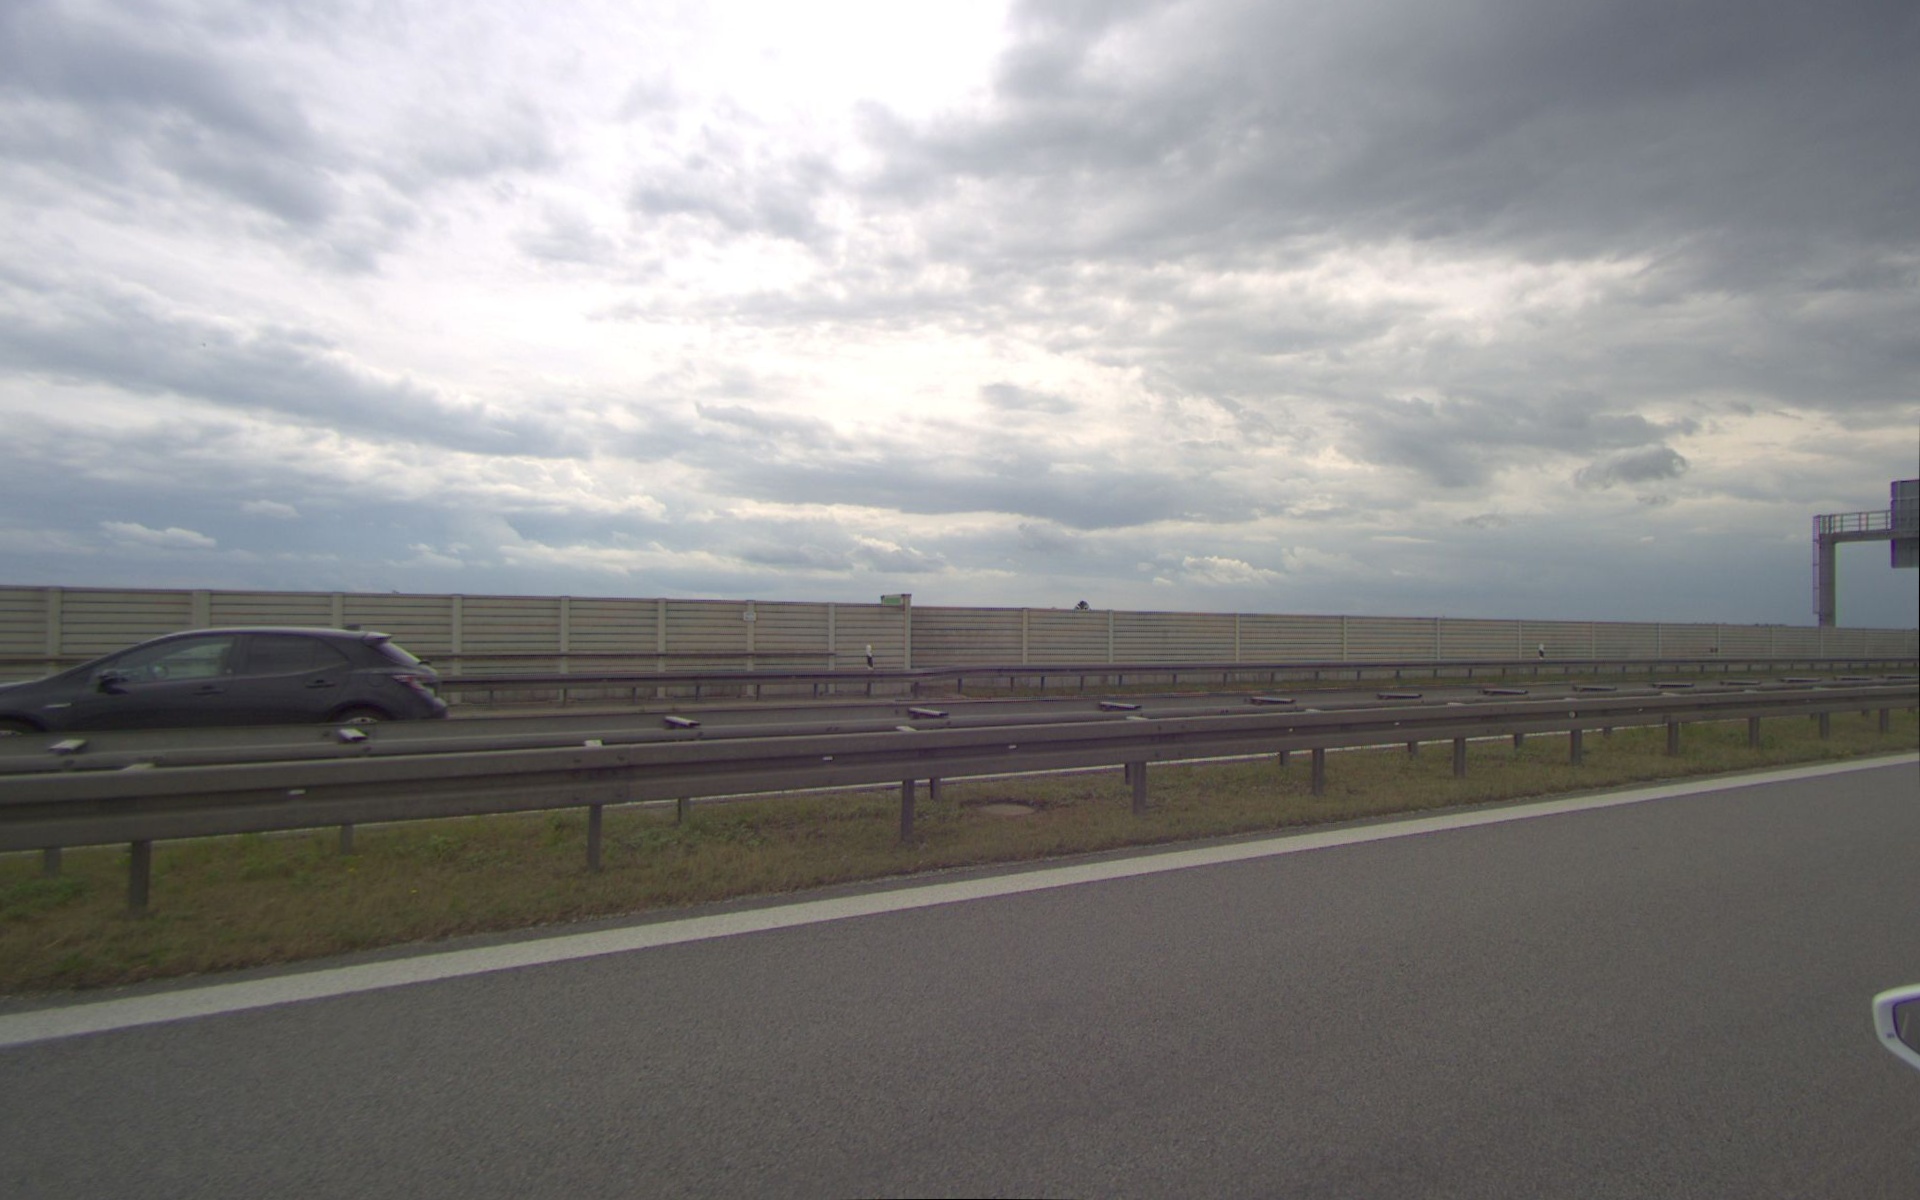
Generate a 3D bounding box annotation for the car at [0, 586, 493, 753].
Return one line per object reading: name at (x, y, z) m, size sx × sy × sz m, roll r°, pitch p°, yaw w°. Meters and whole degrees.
car at (-7.220, 0.699, 9.886) m, size 4.628 × 1.391 × 1.789 m, roll 1°, pitch -6°, yaw -30°
